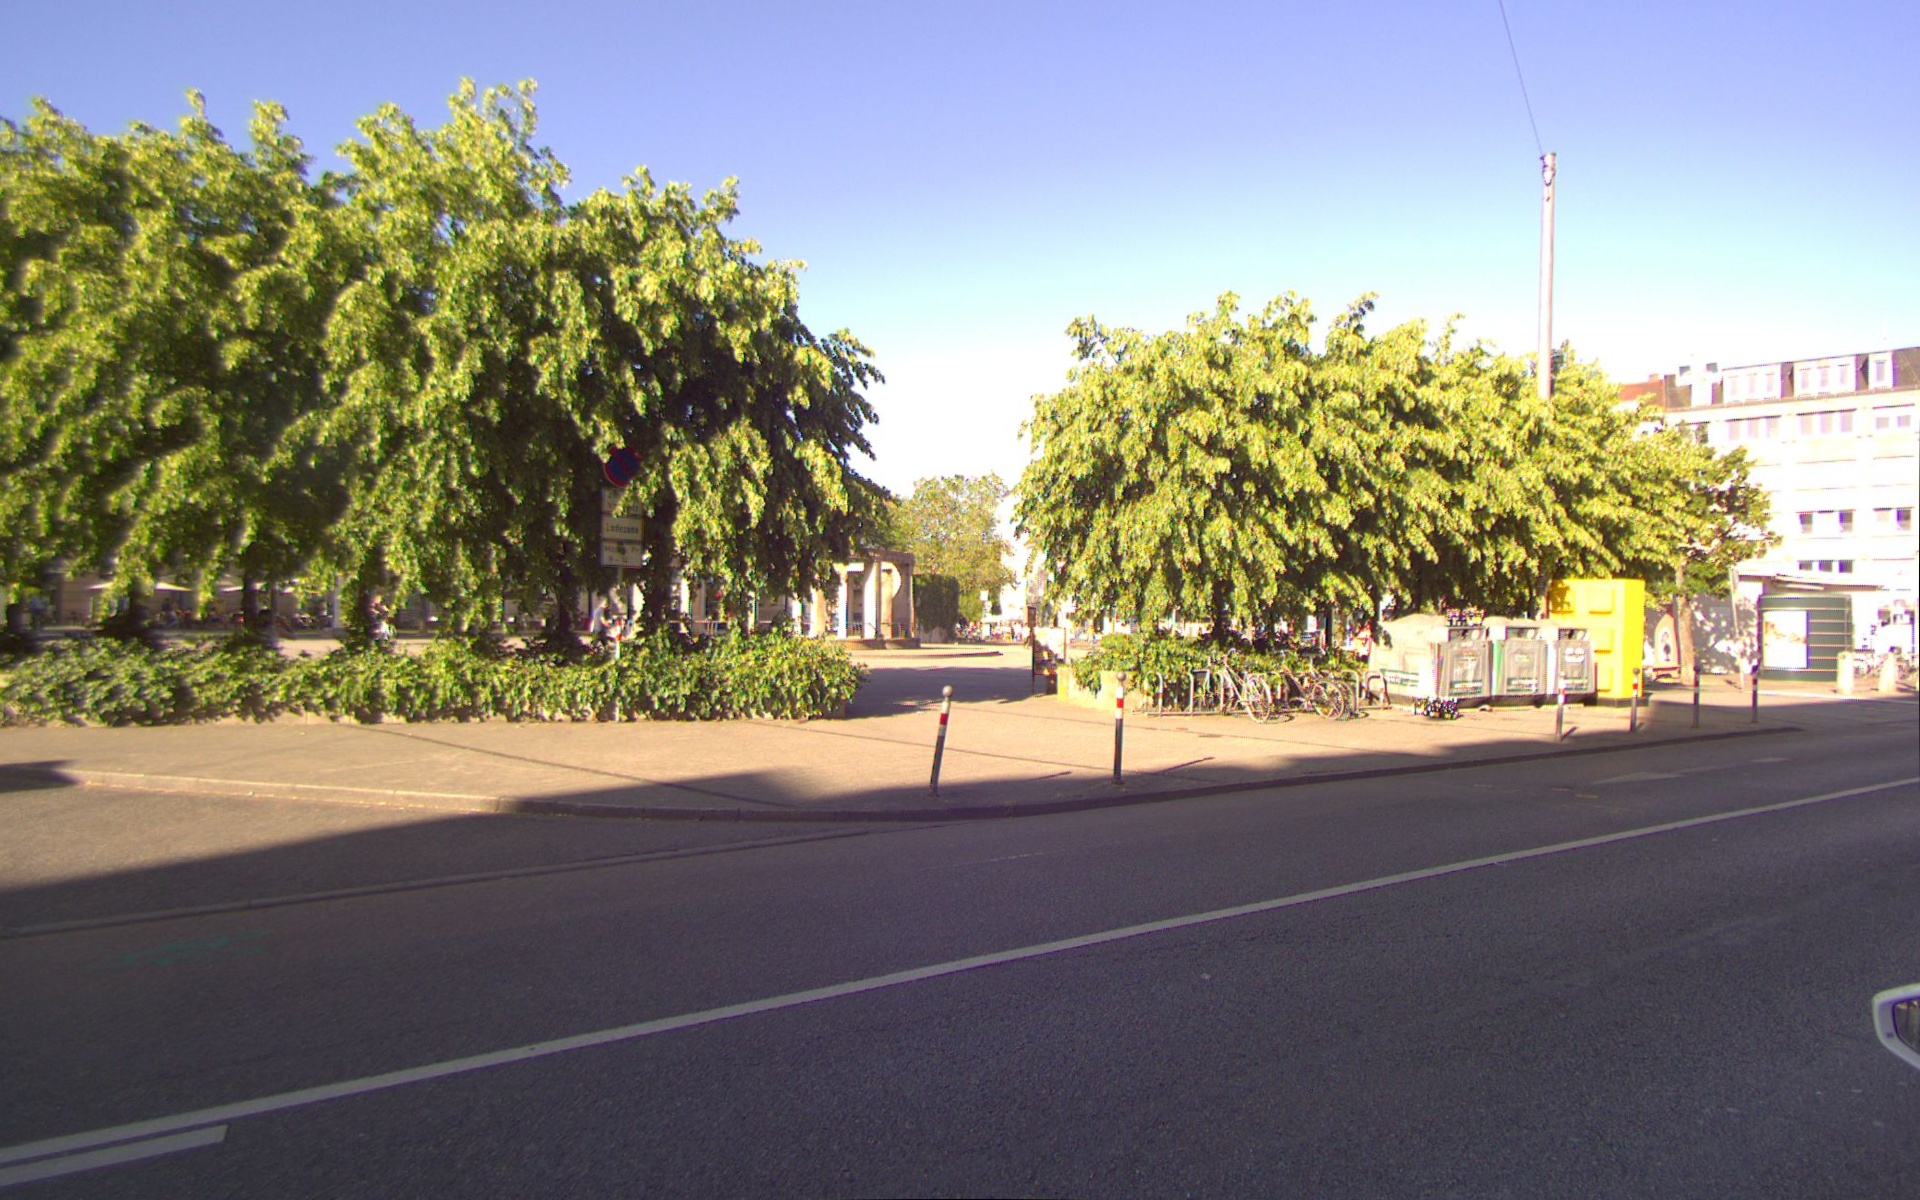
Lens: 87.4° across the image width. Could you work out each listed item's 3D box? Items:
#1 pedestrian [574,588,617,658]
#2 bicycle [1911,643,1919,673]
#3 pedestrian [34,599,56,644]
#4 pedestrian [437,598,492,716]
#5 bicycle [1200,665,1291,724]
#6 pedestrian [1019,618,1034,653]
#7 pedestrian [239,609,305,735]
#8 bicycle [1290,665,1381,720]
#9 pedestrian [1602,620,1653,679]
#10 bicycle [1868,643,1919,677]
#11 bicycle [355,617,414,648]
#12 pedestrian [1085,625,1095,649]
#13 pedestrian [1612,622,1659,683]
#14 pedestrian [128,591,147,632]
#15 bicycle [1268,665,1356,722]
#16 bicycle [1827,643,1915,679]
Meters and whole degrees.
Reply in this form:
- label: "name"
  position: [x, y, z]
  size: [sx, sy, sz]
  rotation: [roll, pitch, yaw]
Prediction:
- label: "pedestrian"
  position: [-9.405, 0.592, 25.961]
  size: [0.918, 1.775, 0.728]
  rotation: [2, 0, -15]
- label: "bicycle"
  position: [37.322, 2.232, 37.817]
  size: [0.796, 1.119, 2.073]
  rotation: [1, -1, -30]
- label: "pedestrian"
  position: [-37.539, 0.876, 41.195]
  size: [0.597, 1.816, 0.576]
  rotation: [2, 0, -40]
- label: "pedestrian"
  position: [-8.153, 0.919, 16.523]
  size: [0.574, 1.881, 0.598]
  rotation: [1, 0, 41]
- label: "bicycle"
  position: [4.420, 1.450, 15.655]
  size: [0.467, 0.779, 1.653]
  rotation: [2, 0, -20]
- label: "pedestrian"
  position: [3.975, 2.136, 59.991]
  size: [0.670, 2.040, 0.579]
  rotation: [2, 0, -23]
- label: "pedestrian"
  position: [-10.600, 1.097, 15.490]
  size: [0.722, 1.881, 0.578]
  rotation: [2, 0, -28]
- label: "bicycle"
  position: [6.150, 1.496, 16.531]
  size: [0.468, 0.779, 1.468]
  rotation: [2, 0, -27]
- label: "pedestrian"
  position: [19.371, 1.420, 29.169]
  size: [0.727, 1.658, 0.983]
  rotation: [1, 0, -26]
- label: "bicycle"
  position: [33.358, 2.099, 35.239]
  size: [0.796, 1.119, 2.073]
  rotation: [1, -1, -30]
- label: "bicycle"
  position: [-20.269, 1.144, 35.373]
  size: [2.018, 1.030, 0.504]
  rotation: [1, 0, 16]
- label: "pedestrian"
  position: [9.815, 2.799, 75.954]
  size: [0.591, 1.816, 0.581]
  rotation: [1, 0, -12]
- label: "pedestrian"
  position: [19.946, 1.540, 29.649]
  size: [0.734, 1.748, 0.898]
  rotation: [1, 0, -26]
- label: "pedestrian"
  position: [-36.292, 0.507, 44.326]
  size: [0.597, 1.816, 0.575]
  rotation: [2, 0, -44]
- label: "bicycle"
  position: [5.673, 1.492, 16.242]
  size: [0.435, 0.779, 1.469]
  rotation: [2, 0, -25]
- label: "bicycle"
  position: [31.053, 2.052, 34.265]
  size: [0.796, 1.119, 2.073]
  rotation: [1, -1, -30]
